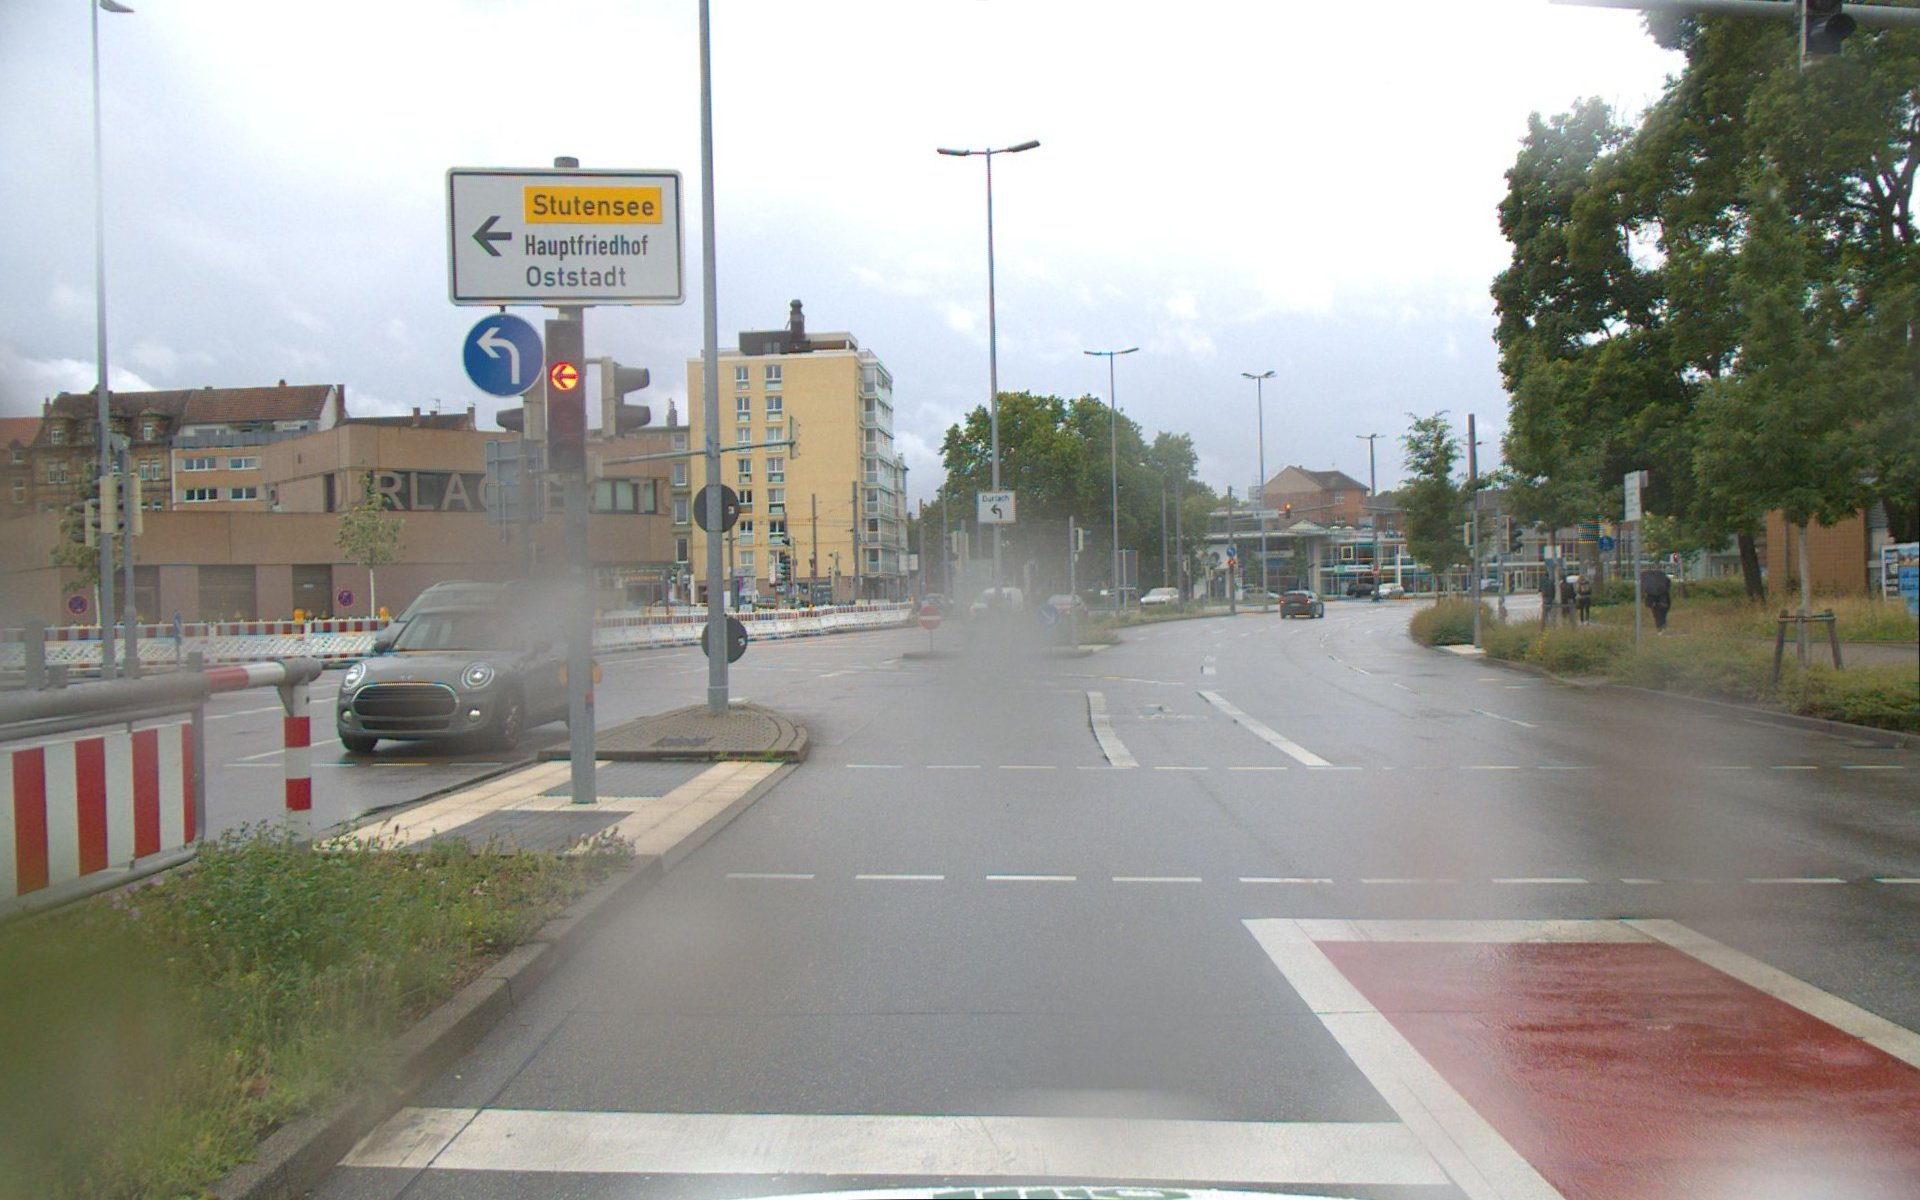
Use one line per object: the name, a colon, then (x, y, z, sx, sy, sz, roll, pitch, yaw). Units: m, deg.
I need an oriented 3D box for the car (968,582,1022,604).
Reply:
car: (2.802, -0.580, 132.753, 4.292, 1.672, 1.796, -1, 0, 1)

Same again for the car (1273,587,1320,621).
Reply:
car: (17.743, 0.200, 87.095, 1.753, 1.672, 4.160, -1, 0, 21)

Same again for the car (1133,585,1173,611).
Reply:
car: (13.097, -0.133, 112.017, 1.753, 1.672, 4.160, -1, 0, 21)

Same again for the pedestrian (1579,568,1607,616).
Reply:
pedestrian: (21.491, -0.272, 56.137, 0.688, 1.615, 0.937, -1, 0, 9)

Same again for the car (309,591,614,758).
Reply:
car: (-5.182, 0.696, 17.799, 1.735, 1.400, 4.123, -4, 1, 3)

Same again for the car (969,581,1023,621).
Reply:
car: (1.811, 0.038, 82.299, 1.752, 1.890, 4.163, -1, 0, 15)

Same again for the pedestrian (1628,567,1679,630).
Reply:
pedestrian: (18.219, -0.050, 43.458, 1.000, 1.615, 0.937, -1, 0, 9)

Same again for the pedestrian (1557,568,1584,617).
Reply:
pedestrian: (20.804, -0.254, 56.375, 0.688, 1.615, 0.937, -1, 0, 9)

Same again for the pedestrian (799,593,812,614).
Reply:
pedestrian: (-13.536, 0.310, 145.153, 1.071, 1.845, 1.117, -2, 0, -5)

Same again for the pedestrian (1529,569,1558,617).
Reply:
pedestrian: (20.103, -0.237, 56.989, 0.737, 1.615, 0.937, -1, 0, 9)

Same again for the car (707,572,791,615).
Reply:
car: (-17.985, -0.536, 141.202, 6.601, 3.439, 2.810, -2, 0, 2)

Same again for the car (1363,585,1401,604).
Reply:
car: (39.657, -0.520, 155.398, 1.764, 1.672, 4.134, -1, 0, 42)

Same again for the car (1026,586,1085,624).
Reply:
car: (4.545, 0.226, 78.445, 1.752, 1.672, 4.048, -1, 0, 19)

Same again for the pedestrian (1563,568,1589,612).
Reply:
pedestrian: (22.967, -0.383, 61.657, 0.688, 1.615, 0.937, -1, 0, 9)

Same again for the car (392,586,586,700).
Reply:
car: (-7.769, 0.647, 27.755, 1.735, 1.708, 4.770, -2, 0, 1)

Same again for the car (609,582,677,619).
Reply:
car: (-27.167, 0.018, 141.695, 5.239, 2.937, 2.340, -2, 0, 2)
